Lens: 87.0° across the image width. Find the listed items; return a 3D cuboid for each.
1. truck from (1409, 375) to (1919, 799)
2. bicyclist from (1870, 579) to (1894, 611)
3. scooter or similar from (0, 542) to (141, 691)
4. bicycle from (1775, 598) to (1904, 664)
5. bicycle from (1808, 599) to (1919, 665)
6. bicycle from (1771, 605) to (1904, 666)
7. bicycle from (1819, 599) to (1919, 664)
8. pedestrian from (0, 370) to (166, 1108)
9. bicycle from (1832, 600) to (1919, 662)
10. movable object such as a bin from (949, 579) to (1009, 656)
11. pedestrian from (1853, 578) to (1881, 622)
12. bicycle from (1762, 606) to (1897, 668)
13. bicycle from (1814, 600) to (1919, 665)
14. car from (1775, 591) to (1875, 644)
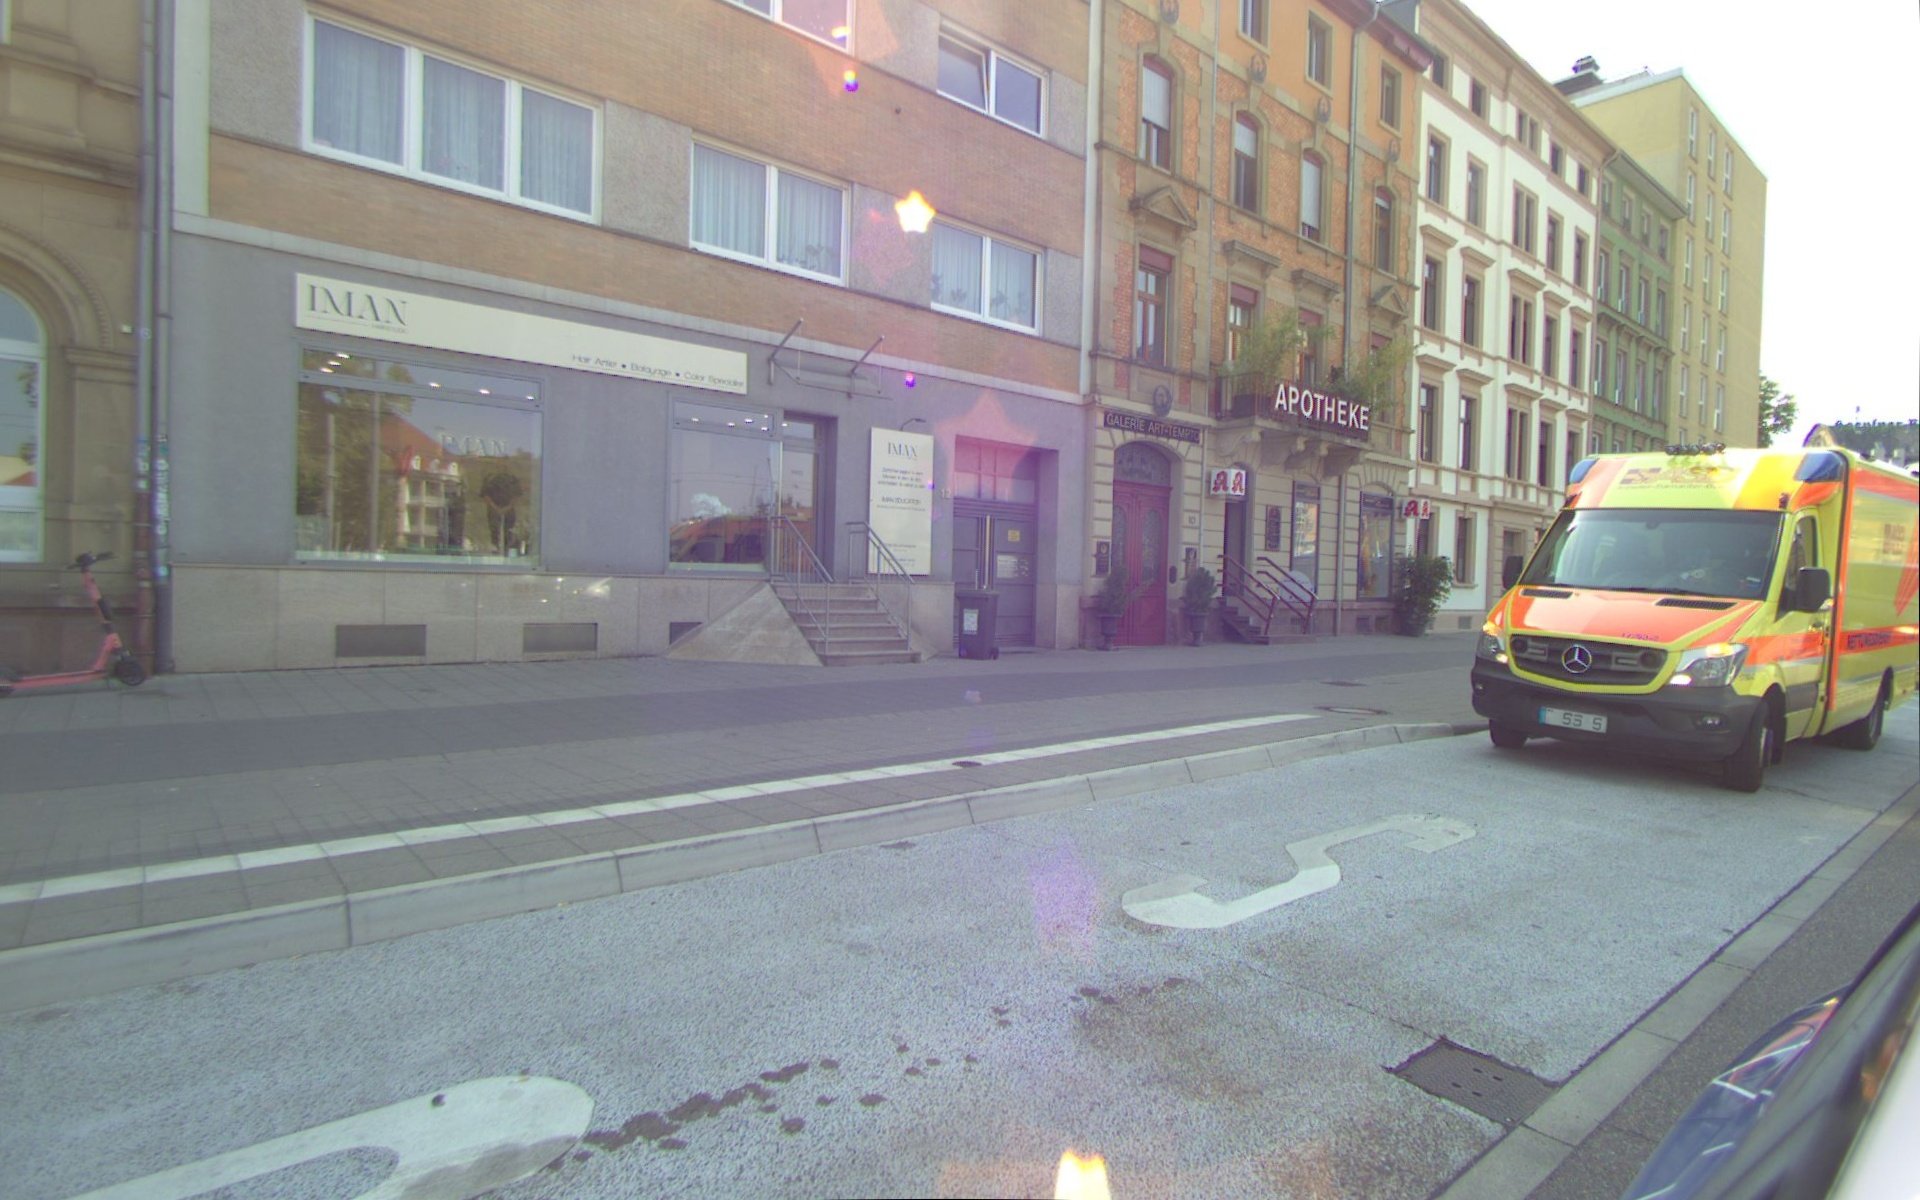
[{"bbox_3d":[7.044,-0.163,9.508,6.221,2.803,2.336,0,4,-37],"label":"truck"},{"bbox_3d":[47.762,-0.258,52.428,1.083,1.606,0.721,1,1,-40],"label":"bicyclist"},{"bbox_3d":[-7.835,0.130,8.749,0.476,1.227,1.124,3,2,44],"label":"scooter or similar"},{"bbox_3d":[17.187,0.582,19.813,0.539,1.219,1.841,1,0,-39],"label":"bicycle"},{"bbox_3d":[17.773,0.611,19.730,0.427,1.219,1.841,1,0,-39],"label":"bicycle"},{"bbox_3d":[16.766,0.649,19.368,0.645,1.070,1.841,1,0,-39],"label":"bicycle"},{"bbox_3d":[18.456,0.615,20.289,0.427,1.235,1.841,1,0,-39],"label":"bicycle"},{"bbox_3d":[-2.925,0.320,2.496,1.213,1.762,0.969,1,2,-12],"label":"pedestrian"},{"bbox_3d":[19.303,0.629,20.927,0.626,1.219,1.841,1,0,-39],"label":"bicycle"},{"bbox_3d":[0.296,0.249,15.510,0.640,1.118,0.723,3,2,24],"label":"movable object such as a bin"},{"bbox_3d":[34.777,0.005,38.803,0.783,1.648,0.645,0,2,-42],"label":"pedestrian"},{"bbox_3d":[16.240,0.660,18.939,0.645,1.074,1.841,1,0,-39],"label":"bicycle"},{"bbox_3d":[18.110,0.618,19.996,0.427,1.219,1.841,1,0,-39],"label":"bicycle"},{"bbox_3d":[27.073,0.509,31.647,3.863,1.444,1.667,0,4,-40],"label":"car"}]
